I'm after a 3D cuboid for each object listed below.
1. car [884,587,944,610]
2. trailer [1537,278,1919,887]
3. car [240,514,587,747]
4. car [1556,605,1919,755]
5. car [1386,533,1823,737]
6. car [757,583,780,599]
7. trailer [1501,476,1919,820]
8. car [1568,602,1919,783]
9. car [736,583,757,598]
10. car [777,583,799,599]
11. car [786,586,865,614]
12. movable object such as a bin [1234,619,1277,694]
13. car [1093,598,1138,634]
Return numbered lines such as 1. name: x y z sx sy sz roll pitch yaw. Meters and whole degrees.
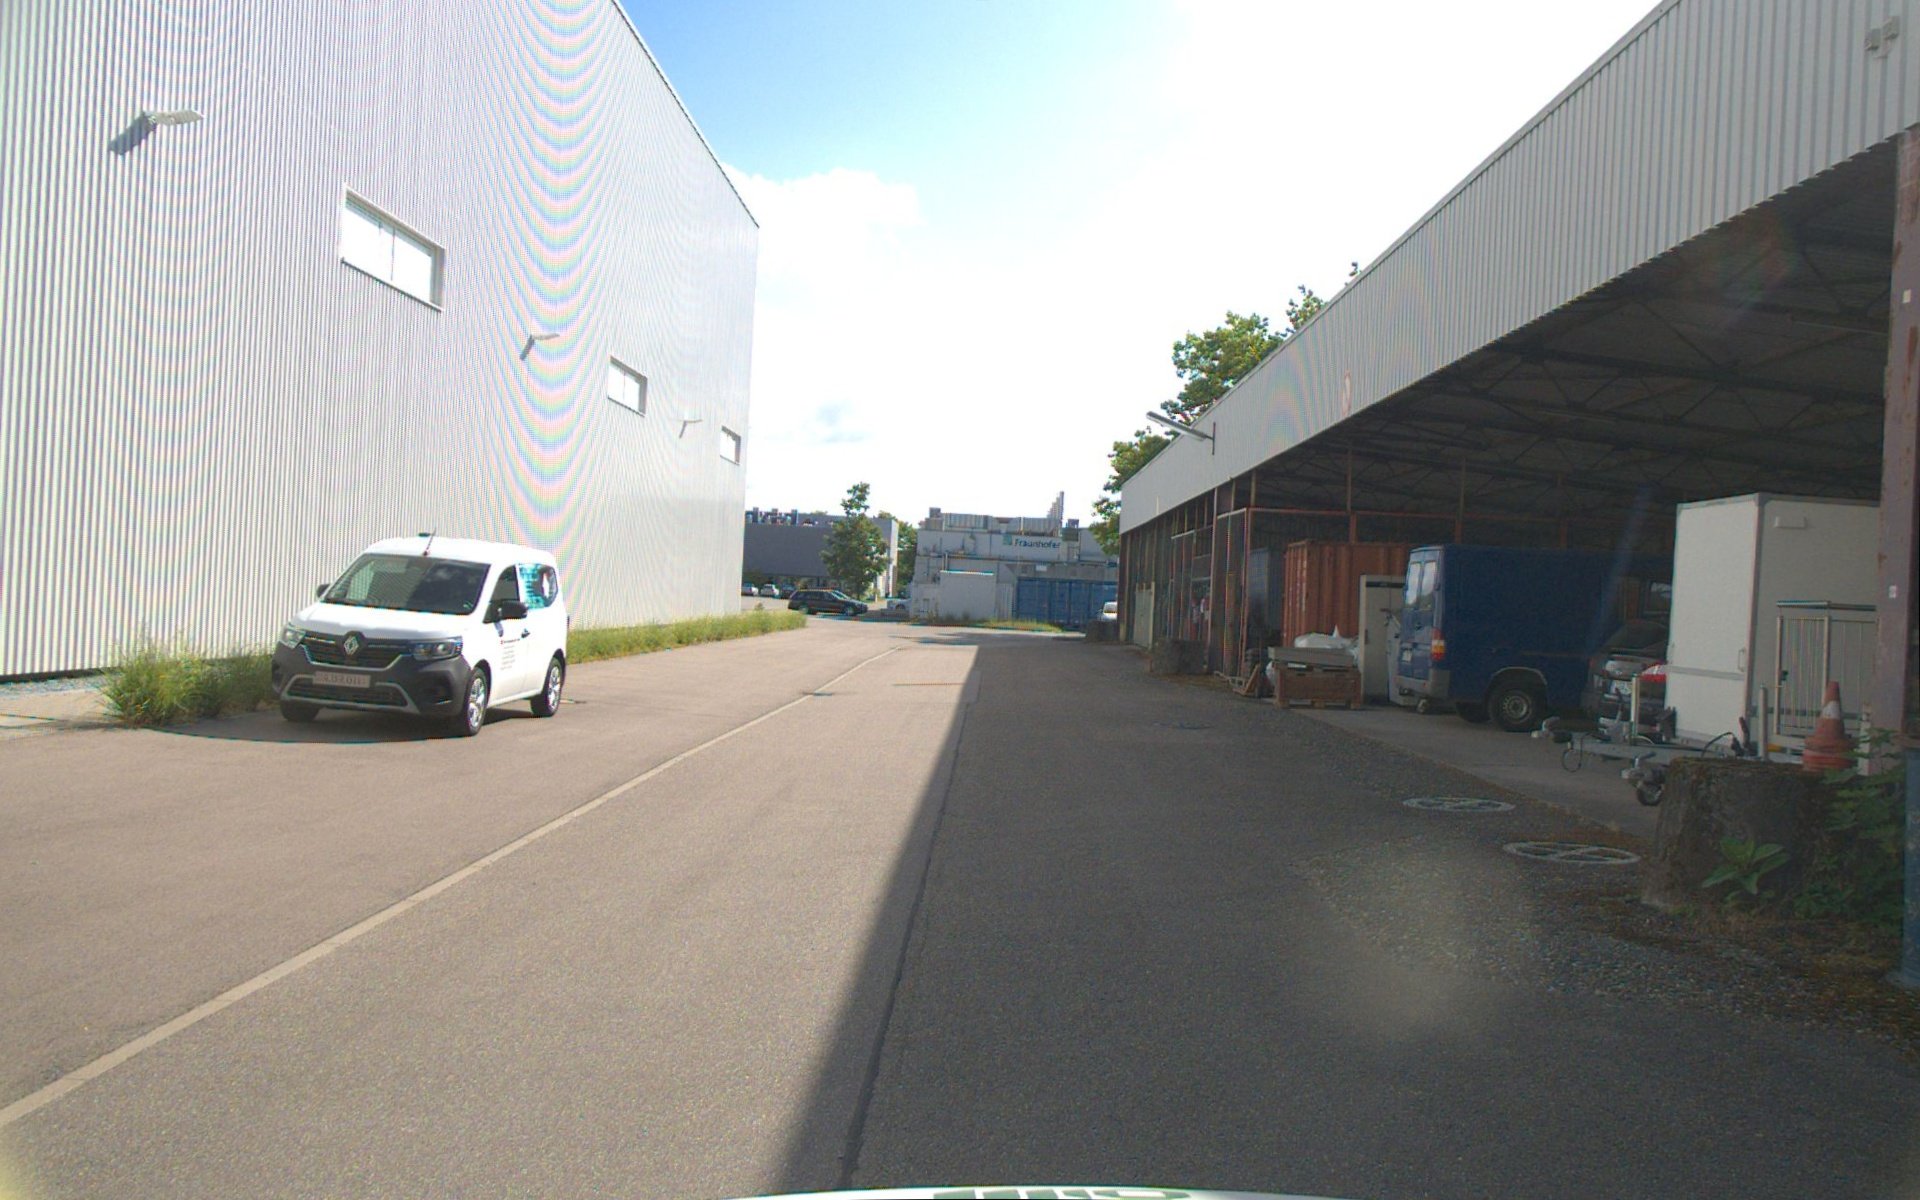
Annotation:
1. car: -3.490 -0.137 126.345 4.432 1.534 1.909 2 0 2
2. trailer: 9.061 0.038 10.356 9.831 3.272 2.854 2 0 1
3. car: -5.244 0.257 16.566 1.852 1.877 4.359 5 0 0
4. car: 9.023 0.880 18.672 3.908 1.498 1.787 2 0 -4
5. car: 8.298 0.434 21.645 4.876 2.366 2.000 2 0 1
6. car: -22.705 -1.086 196.114 2.148 1.766 4.000 1 0 0
7. trailer: 6.884 0.373 12.924 4.711 2.433 1.828 2 0 6
8. car: 8.174 0.851 15.551 4.241 1.522 1.777 2 0 -2
9. car: -25.243 -1.097 195.799 1.952 1.766 4.000 1 0 0
10. car: -20.229 -1.086 194.374 2.148 1.766 4.000 1 0 0
11. car: -8.028 -0.004 98.794 4.432 1.534 1.909 2 0 3
12. movable object such as a bin: 4.881 0.919 27.363 0.569 1.185 1.239 2 0 5
13. car: 8.044 0.809 85.849 1.953 1.613 4.173 2 2 0
